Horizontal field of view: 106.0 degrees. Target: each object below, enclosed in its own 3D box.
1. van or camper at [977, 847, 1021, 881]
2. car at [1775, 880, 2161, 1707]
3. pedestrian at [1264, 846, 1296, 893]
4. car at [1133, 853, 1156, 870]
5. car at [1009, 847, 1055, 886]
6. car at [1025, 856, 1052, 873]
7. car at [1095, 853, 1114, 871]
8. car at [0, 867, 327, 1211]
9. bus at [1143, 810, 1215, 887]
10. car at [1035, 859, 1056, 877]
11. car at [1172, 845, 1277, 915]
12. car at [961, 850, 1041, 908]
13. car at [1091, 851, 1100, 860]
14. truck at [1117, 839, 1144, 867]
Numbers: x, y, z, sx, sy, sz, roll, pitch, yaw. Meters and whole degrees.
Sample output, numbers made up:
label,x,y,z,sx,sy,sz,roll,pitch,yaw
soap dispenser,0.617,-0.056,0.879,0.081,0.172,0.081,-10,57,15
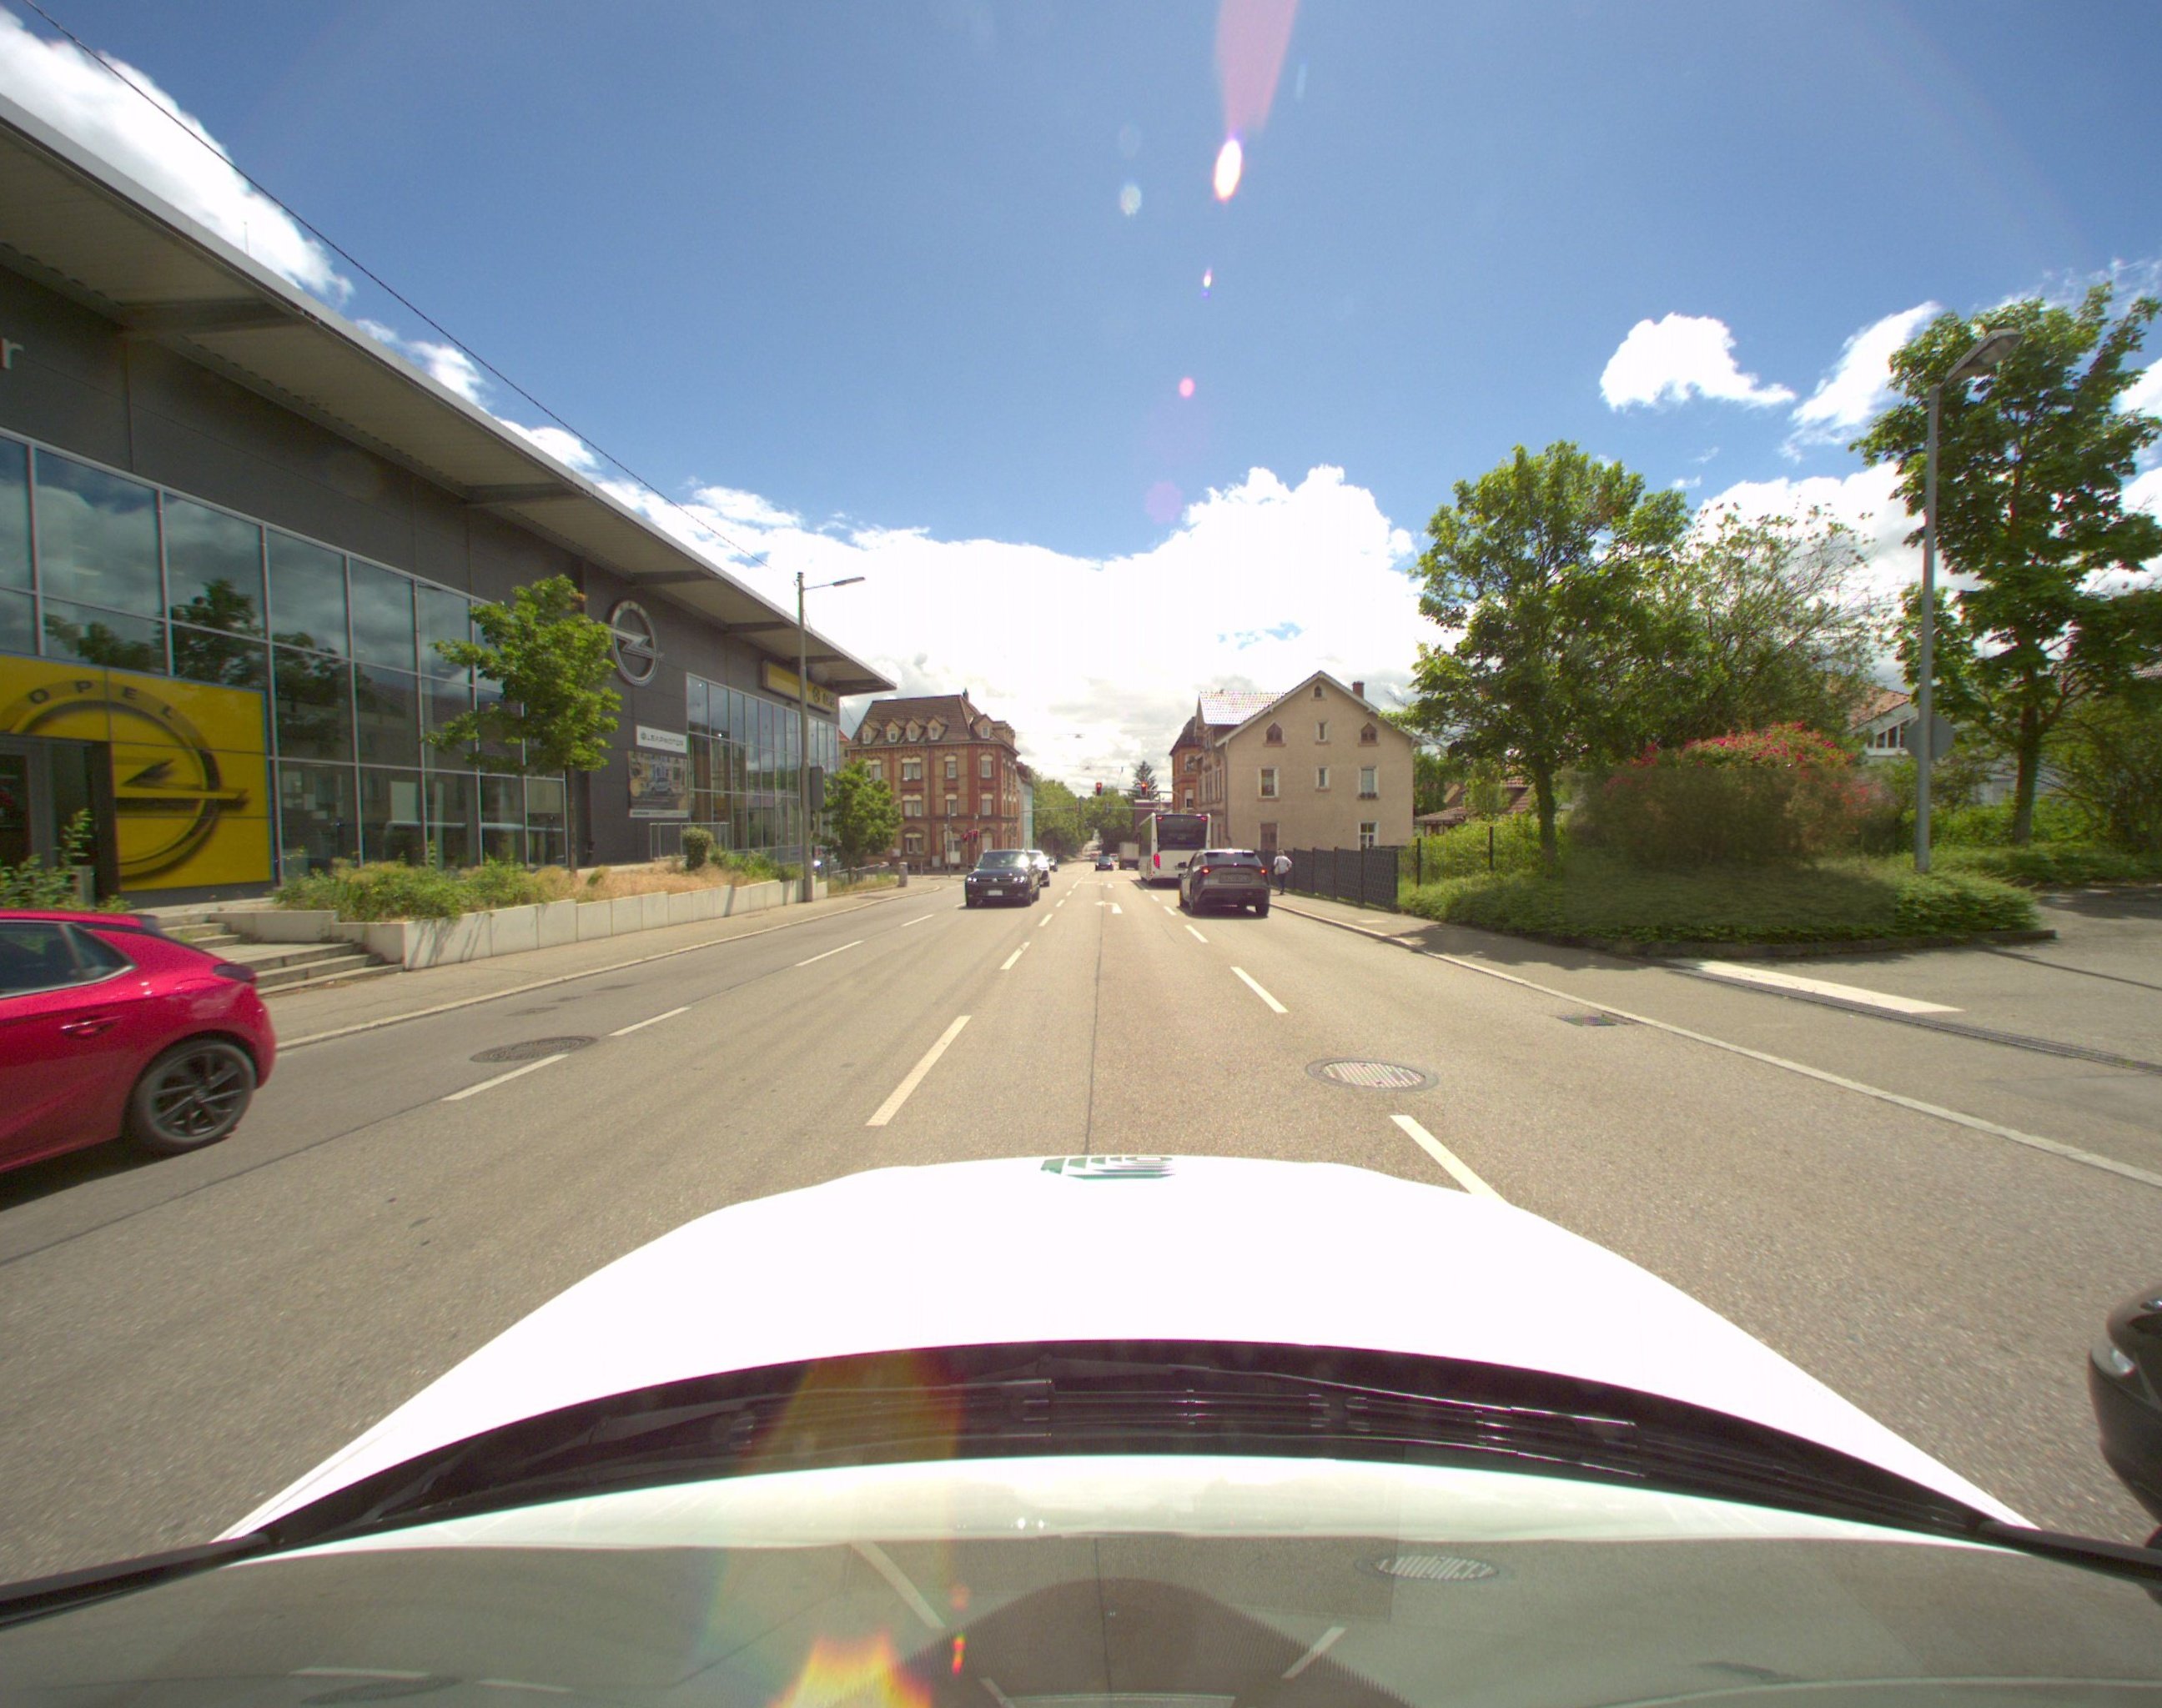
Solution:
label,x,y,z,sx,sy,sz,roll,pitch,yaw
van or camper,-4.805,0.541,48.263,1.963,1.914,5.129,-1,0,1
car,2.824,0.875,0.114,1.924,1.376,4.210,-1,3,1
pedestrian,6.966,0.533,28.526,0.810,1.581,1.070,-3,0,1
car,6.192,0.691,79.809,1.924,1.583,4.209,-2,0,1
car,-2.213,0.537,37.682,1.858,1.656,4.378,-1,0,0
car,-3.419,0.820,65.885,1.857,1.319,4.260,-1,0,1
car,2.310,0.802,81.927,1.857,1.666,4.260,-1,0,1
car,-5.778,0.906,3.232,1.865,1.491,3.849,-4,1,0
bus,4.566,-0.351,40.247,2.790,3.197,12.208,-1,1,3
car,-3.585,1.391,83.409,1.857,1.666,4.260,-1,0,1
car,3.534,0.573,20.826,1.924,1.583,4.207,-1,1,0
car,-2.259,0.670,23.963,1.857,1.540,4.107,-1,0,1
car,3.172,0.295,175.806,1.826,1.881,4.000,-1,1,0
truck,5.865,-0.081,97.517,2.657,3.108,9.036,-2,0,1
